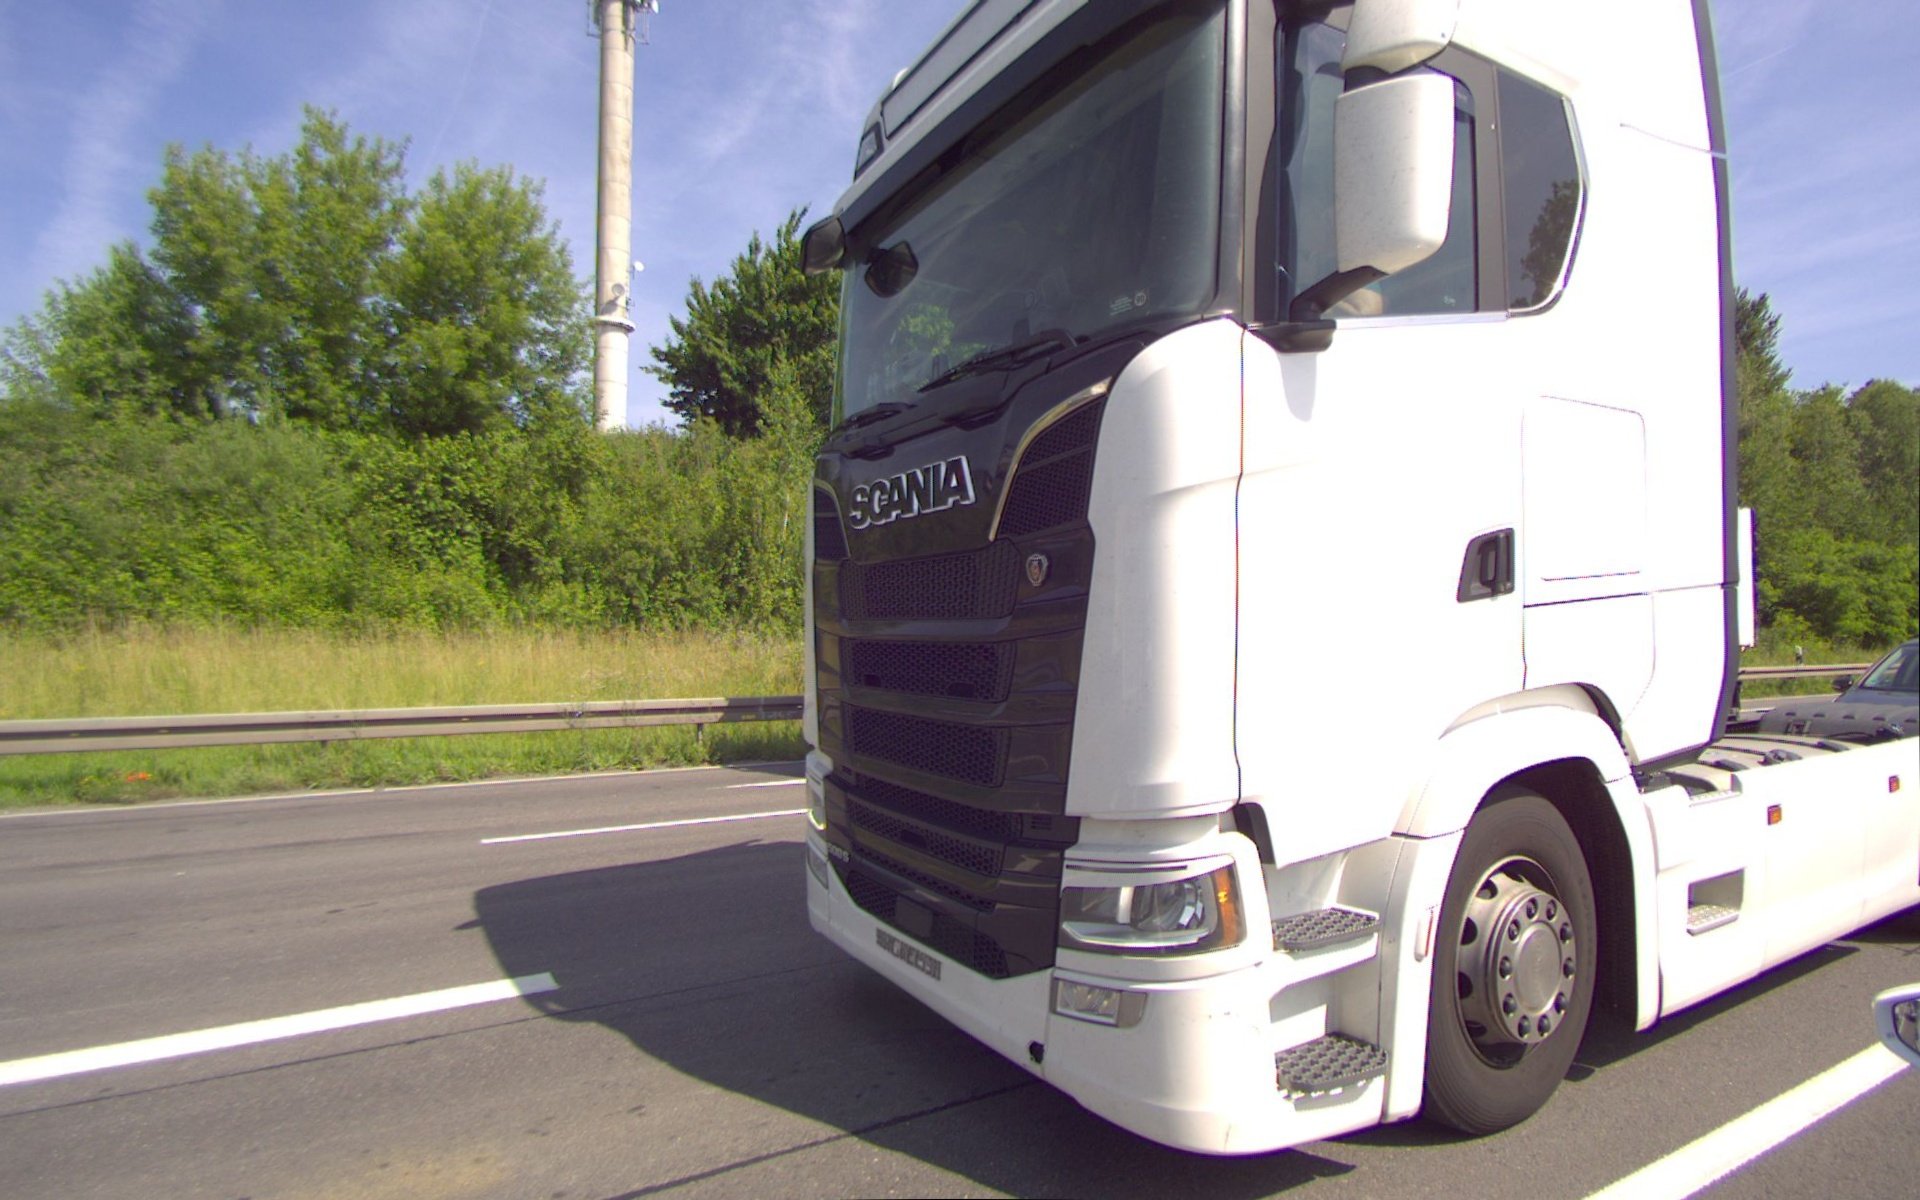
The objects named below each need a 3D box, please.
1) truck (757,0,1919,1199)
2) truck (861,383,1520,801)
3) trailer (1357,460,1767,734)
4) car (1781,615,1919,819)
[{"bbox_3d":[2.416,-0.593,4.912,6.196,4.141,2.524,2,-2,-32],"label":"truck"},{"bbox_3d":[3.582,0.074,13.740,9.573,4.170,2.815,2,-2,-32],"label":"truck"},{"bbox_3d":[11.345,0.107,18.586,8.658,4.123,2.826,2,-2,-32],"label":"trailer"},{"bbox_3d":[9.135,0.952,8.817,4.062,1.572,1.702,2,-3,-31],"label":"car"}]
